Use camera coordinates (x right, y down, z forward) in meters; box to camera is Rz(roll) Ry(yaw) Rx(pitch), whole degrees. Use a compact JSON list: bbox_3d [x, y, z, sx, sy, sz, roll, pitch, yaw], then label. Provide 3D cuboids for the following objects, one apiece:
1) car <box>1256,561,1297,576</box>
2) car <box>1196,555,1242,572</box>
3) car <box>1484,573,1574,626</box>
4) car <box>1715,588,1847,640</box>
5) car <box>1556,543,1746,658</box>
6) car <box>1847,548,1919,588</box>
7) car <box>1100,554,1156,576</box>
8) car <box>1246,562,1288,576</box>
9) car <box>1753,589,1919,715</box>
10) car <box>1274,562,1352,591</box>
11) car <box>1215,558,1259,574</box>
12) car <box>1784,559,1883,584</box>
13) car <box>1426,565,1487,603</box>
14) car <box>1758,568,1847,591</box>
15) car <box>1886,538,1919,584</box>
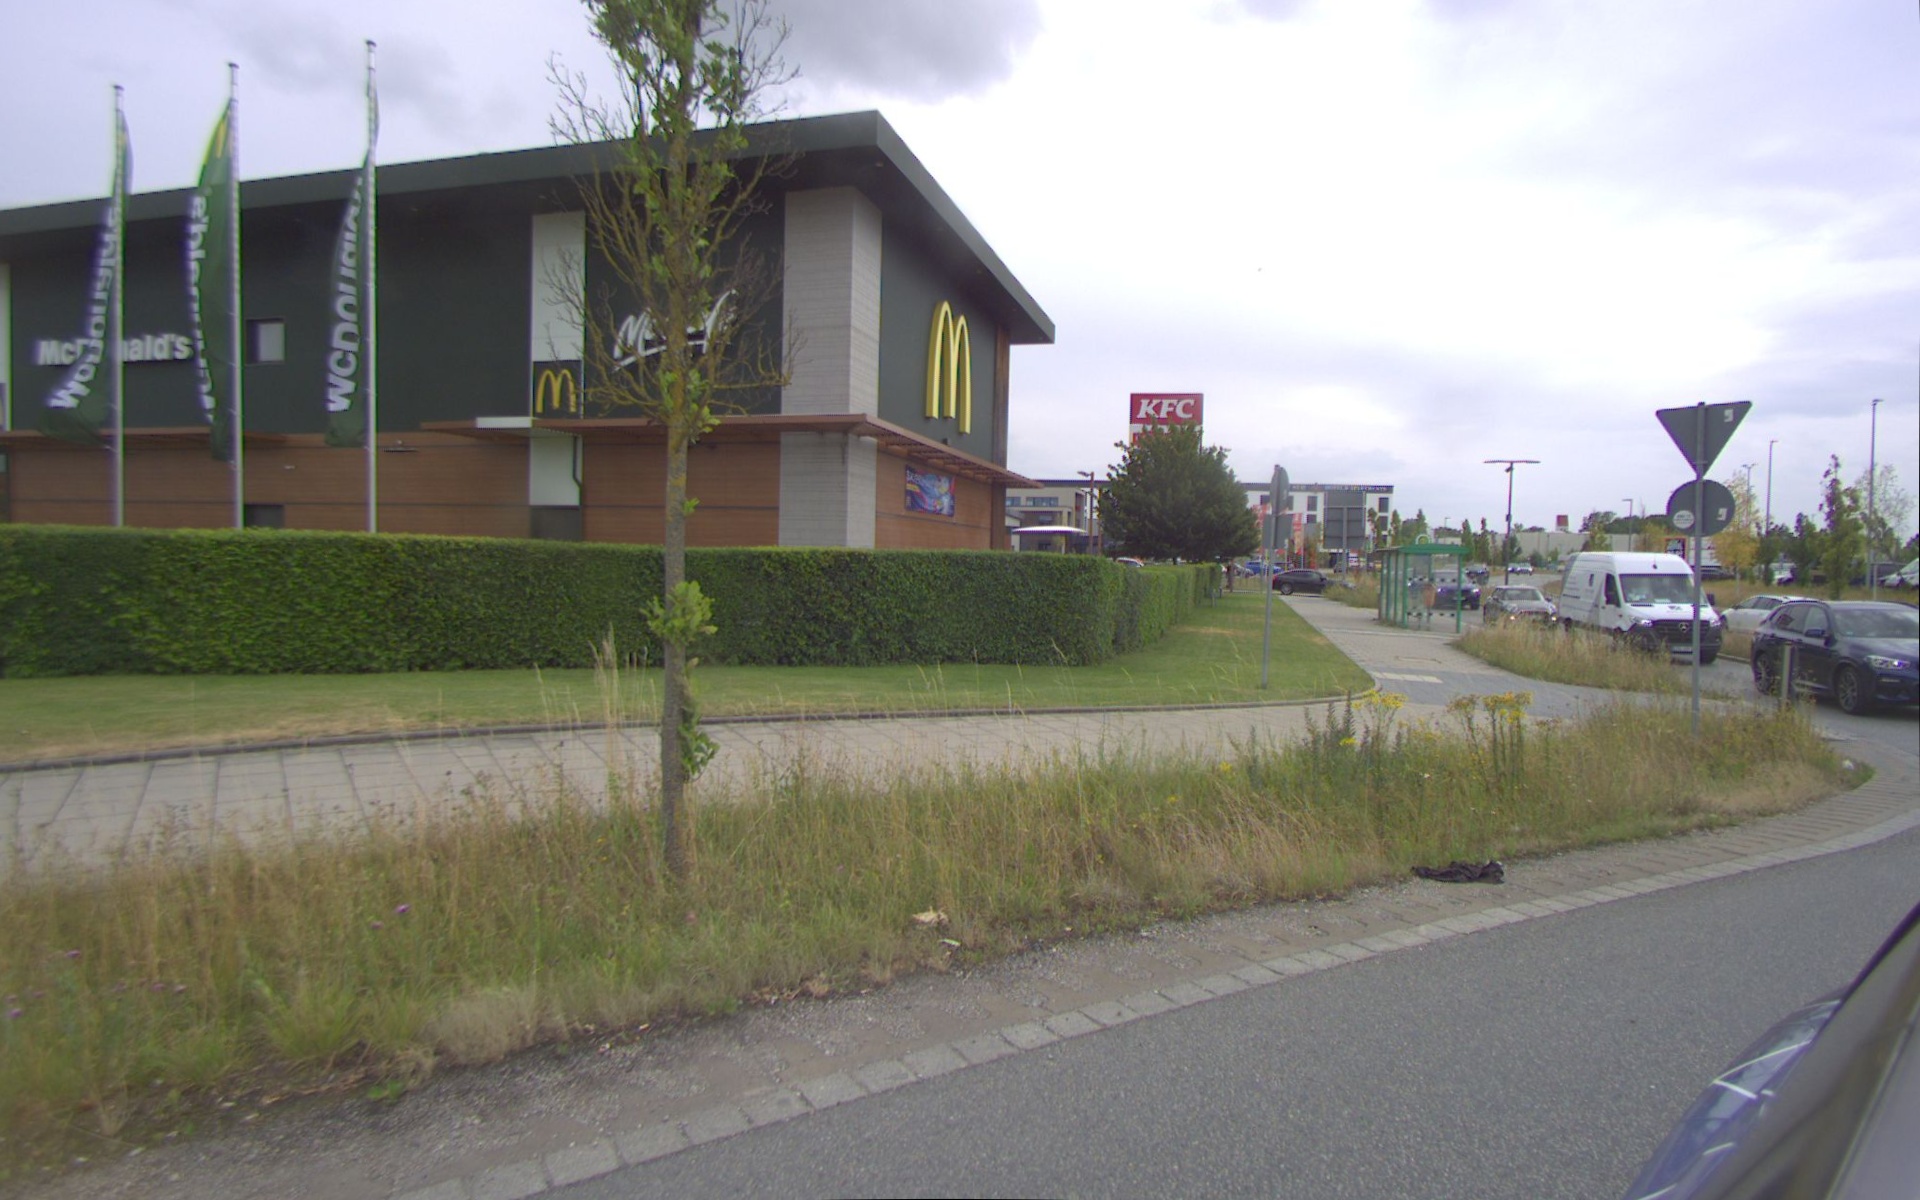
[{"bbox_3d":[34.779,-3.475,111.360,3.971,1.504,1.826,1,4,33],"label":"car"},{"bbox_3d":[24.931,-3.489,97.356,3.965,1.504,1.829,3,3,29],"label":"car"},{"bbox_3d":[19.787,-0.082,35.370,1.843,1.627,3.981,2,3,17],"label":"car"},{"bbox_3d":[25.758,0.367,31.949,1.706,1.426,4.615,3,2,19],"label":"car"},{"bbox_3d":[17.507,-0.131,26.073,1.998,2.558,6.079,2,3,15],"label":"car"},{"bbox_3d":[56.451,-1.893,60.230,5.002,2.250,2.049,2,3,24],"label":"car"},{"bbox_3d":[12.012,-2.510,72.273,3.938,1.504,1.842,0,3,12],"label":"car"},{"bbox_3d":[33.183,-3.365,109.430,3.971,1.504,1.826,1,4,33],"label":"car"},{"bbox_3d":[14.528,0.730,15.899,1.843,1.627,3.981,2,3,17],"label":"car"},{"bbox_3d":[19.270,-1.280,55.278,3.950,1.504,1.836,0,3,20],"label":"car"},{"bbox_3d":[27.673,-3.450,101.195,3.965,1.504,1.829,3,3,29],"label":"car"},{"bbox_3d":[63.672,-2.081,73.851,5.007,1.676,2.047,2,3,26],"label":"car"},{"bbox_3d":[22.976,-0.790,46.958,1.843,1.627,3.981,2,3,17],"label":"car"},{"bbox_3d":[66.921,-1.668,80.481,5.007,1.676,2.047,2,3,26],"label":"car"},{"bbox_3d":[52.605,-2.094,53.461,4.987,2.401,2.055,0,3,17],"label":"car"}]
